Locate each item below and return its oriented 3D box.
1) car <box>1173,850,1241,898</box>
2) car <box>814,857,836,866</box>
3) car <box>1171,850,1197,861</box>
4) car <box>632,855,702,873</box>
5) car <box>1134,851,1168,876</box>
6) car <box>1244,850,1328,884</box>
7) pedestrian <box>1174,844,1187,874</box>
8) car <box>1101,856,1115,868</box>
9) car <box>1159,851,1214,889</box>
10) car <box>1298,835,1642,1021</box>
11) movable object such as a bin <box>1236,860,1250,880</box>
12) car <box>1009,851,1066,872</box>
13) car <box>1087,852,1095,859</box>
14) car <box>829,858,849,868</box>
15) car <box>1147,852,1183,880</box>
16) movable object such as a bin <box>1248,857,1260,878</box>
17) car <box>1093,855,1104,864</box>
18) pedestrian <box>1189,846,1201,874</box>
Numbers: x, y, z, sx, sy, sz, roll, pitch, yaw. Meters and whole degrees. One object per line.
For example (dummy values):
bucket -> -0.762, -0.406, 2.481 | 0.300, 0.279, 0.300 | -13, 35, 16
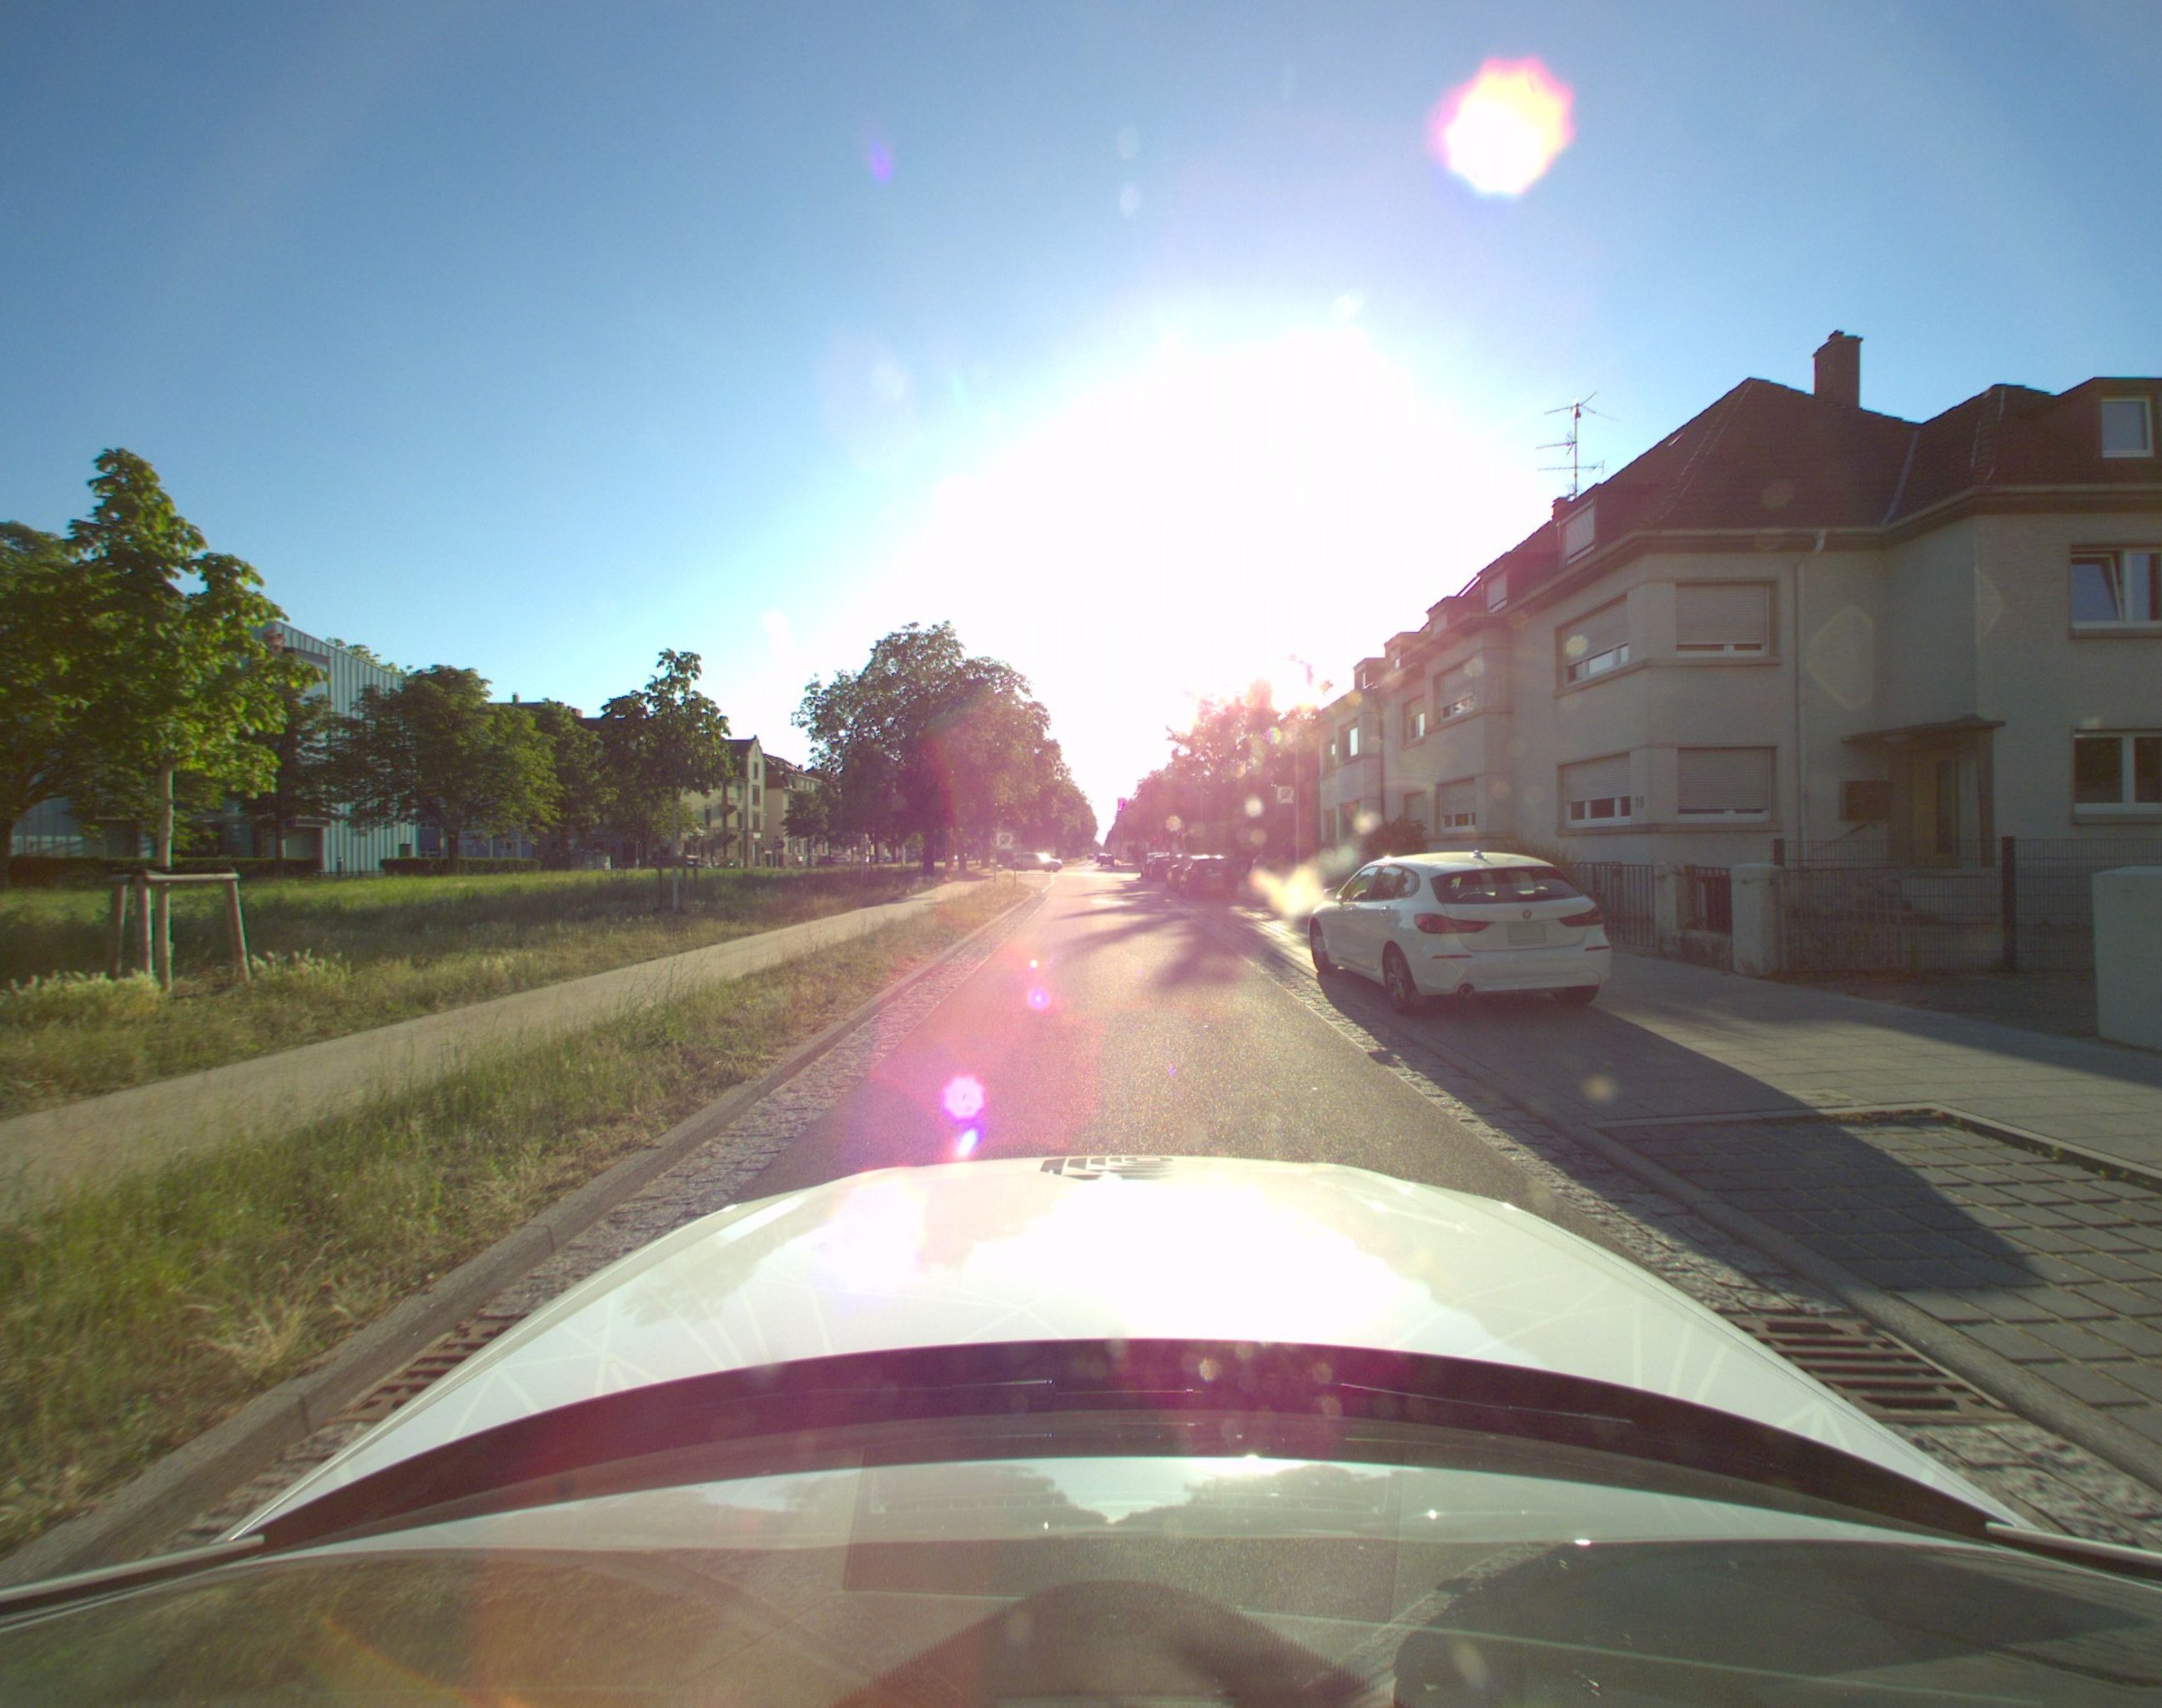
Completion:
car -> 4.279, 0.657, 28.130 | 1.712, 1.471, 3.983 | -3, 0, 1
car -> -39.456, 1.171, 125.660 | 1.728, 1.397, 3.800 | 0, 0, 8
car -> 15.481, 0.208, 122.752 | 3.766, 1.525, 1.744 | 0, 1, 1
car -> -33.870, 0.823, 66.729 | 4.760, 1.434, 1.810 | 1, -1, -7
car -> 4.388, 0.583, 51.375 | 1.852, 1.542, 4.875 | 0, 0, 2
car -> 9.843, 0.599, 39.267 | 3.621, 1.496, 1.781 | -2, 0, 1
pedestrian -> 6.269, 0.295, 51.258 | 0.668, 1.865, 0.881 | 0, 0, -2
car -> 3.397, 0.936, 101.676 | 1.634, 1.451, 3.310 | 0, 0, 4
car -> 4.276, 0.618, 33.492 | 1.740, 1.474, 4.255 | 0, 0, 1
car -> 3.835, 0.618, 8.967 | 1.777, 1.507, 4.234 | -2, 0, 1
movable object such as a bin -> 8.230, 0.808, 41.404 | 0.506, 1.043, 0.658 | 0, 0, -4
car -> -3.665, 0.629, 68.796 | 4.377, 1.676, 1.905 | 2, 0, 16
car -> 2.885, 0.498, 228.641 | 2.126, 2.013, 3.903 | 1, 0, 2
car -> -39.185, 1.426, 132.112 | 1.728, 1.427, 3.801 | 0, 1, 7
car -> 4.589, 0.653, 44.838 | 1.635, 1.427, 3.937 | -2, 0, 1
movable object such as a bin -> 8.782, 0.682, 41.447 | 0.506, 1.043, 0.416 | 0, 0, -5
car -> 2.945, 0.890, 135.735 | 1.838, 1.394, 3.831 | 1, 0, 2
pedestrian -> 7.181, 0.383, 51.220 | 0.666, 1.708, 0.623 | 0, -1, 1
